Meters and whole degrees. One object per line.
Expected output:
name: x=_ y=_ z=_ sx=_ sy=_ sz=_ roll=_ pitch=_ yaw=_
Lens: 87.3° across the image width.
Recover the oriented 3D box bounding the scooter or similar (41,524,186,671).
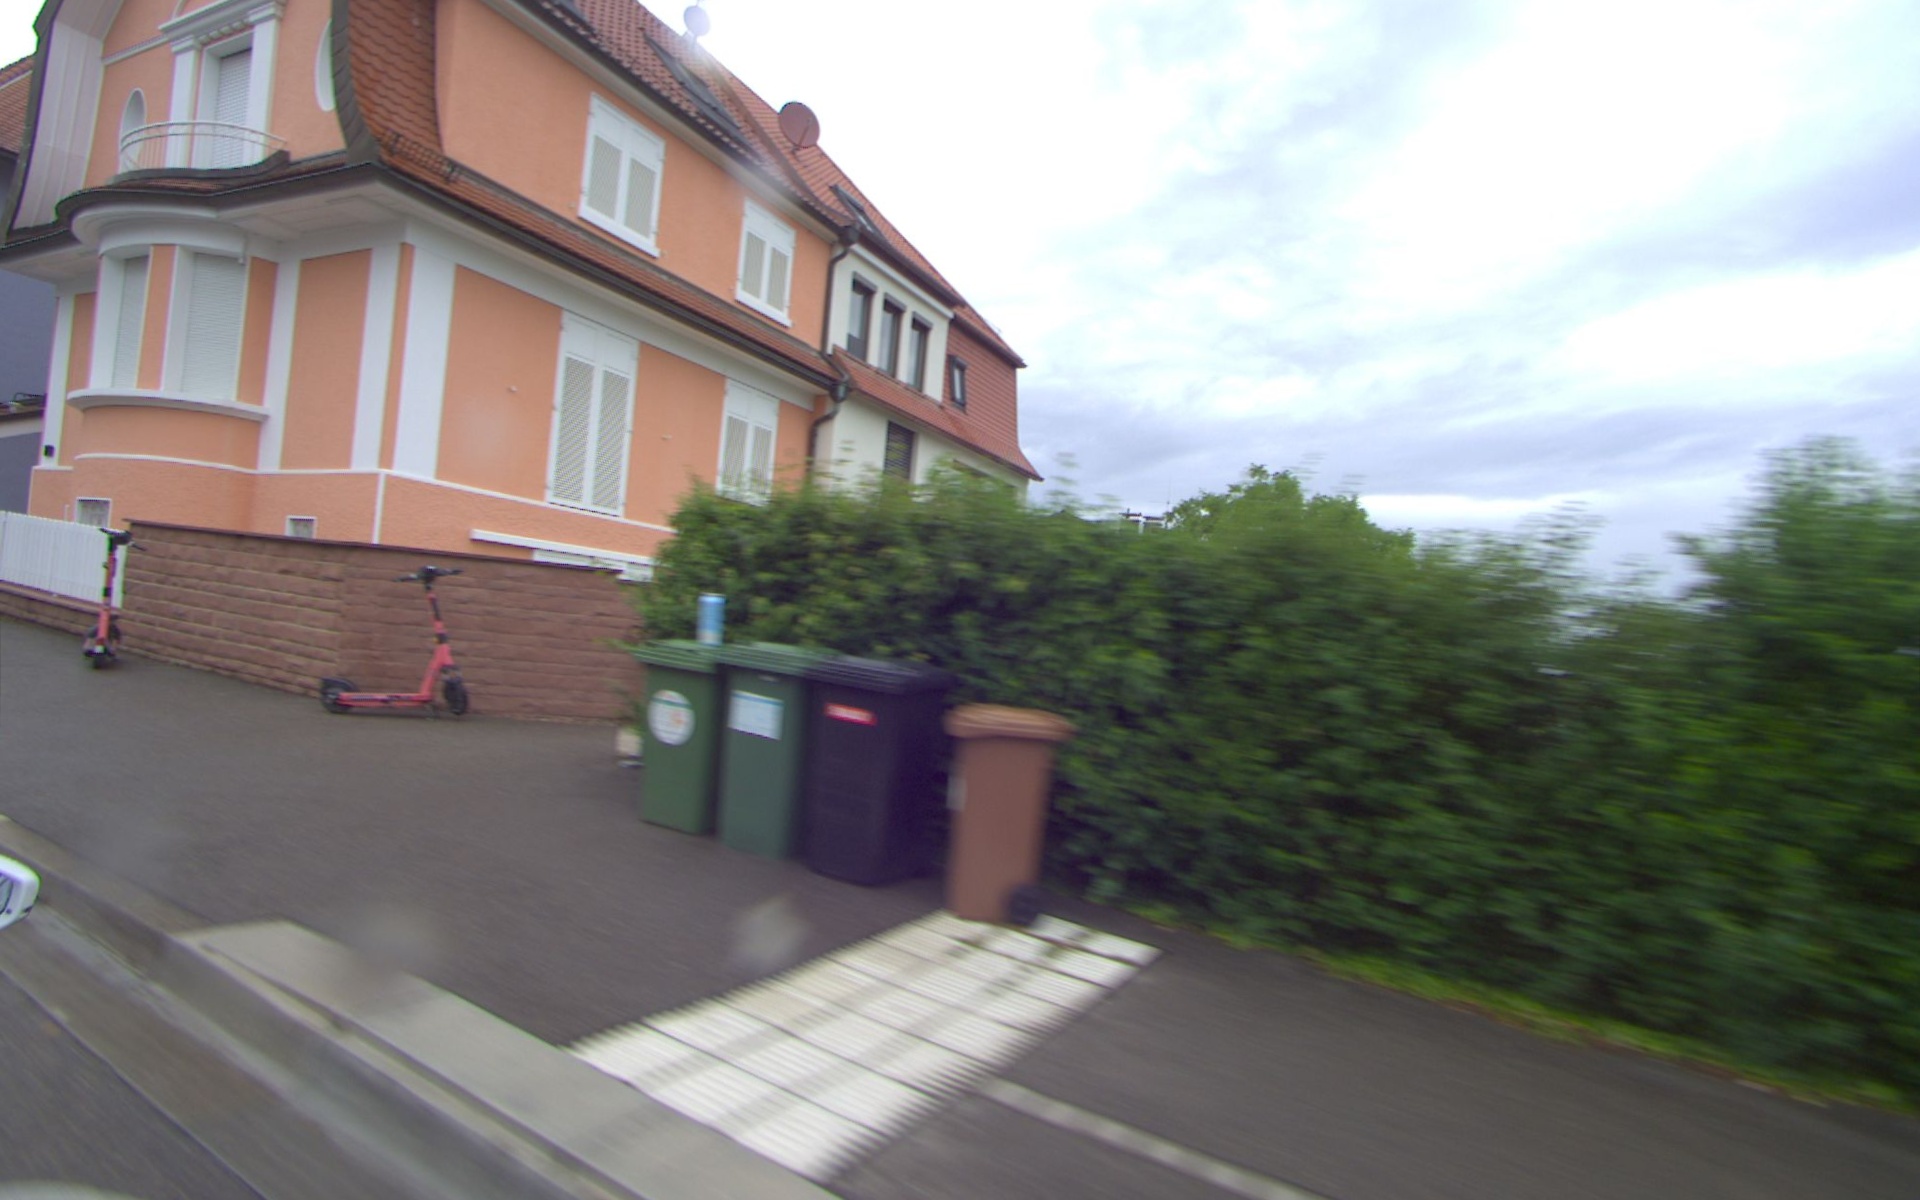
scooter or similar: x=-8.122 y=-0.034 z=9.640 sx=1.279 sy=1.239 sz=0.693 roll=7 pitch=0 yaw=37

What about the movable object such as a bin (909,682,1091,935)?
movable object such as a bin: x=0.160 y=0.919 z=4.599 sx=0.658 sy=0.980 sz=0.571 roll=8 pitch=-1 yaw=-4

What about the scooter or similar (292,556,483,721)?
scooter or similar: x=-4.685 y=0.320 z=8.292 sx=1.247 sy=1.240 sz=0.690 roll=5 pitch=1 yaw=-29

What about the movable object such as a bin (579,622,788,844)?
movable object such as a bin: x=-1.514 y=0.692 z=5.552 sx=0.744 sy=1.043 sz=0.712 roll=7 pitch=2 yaw=27
